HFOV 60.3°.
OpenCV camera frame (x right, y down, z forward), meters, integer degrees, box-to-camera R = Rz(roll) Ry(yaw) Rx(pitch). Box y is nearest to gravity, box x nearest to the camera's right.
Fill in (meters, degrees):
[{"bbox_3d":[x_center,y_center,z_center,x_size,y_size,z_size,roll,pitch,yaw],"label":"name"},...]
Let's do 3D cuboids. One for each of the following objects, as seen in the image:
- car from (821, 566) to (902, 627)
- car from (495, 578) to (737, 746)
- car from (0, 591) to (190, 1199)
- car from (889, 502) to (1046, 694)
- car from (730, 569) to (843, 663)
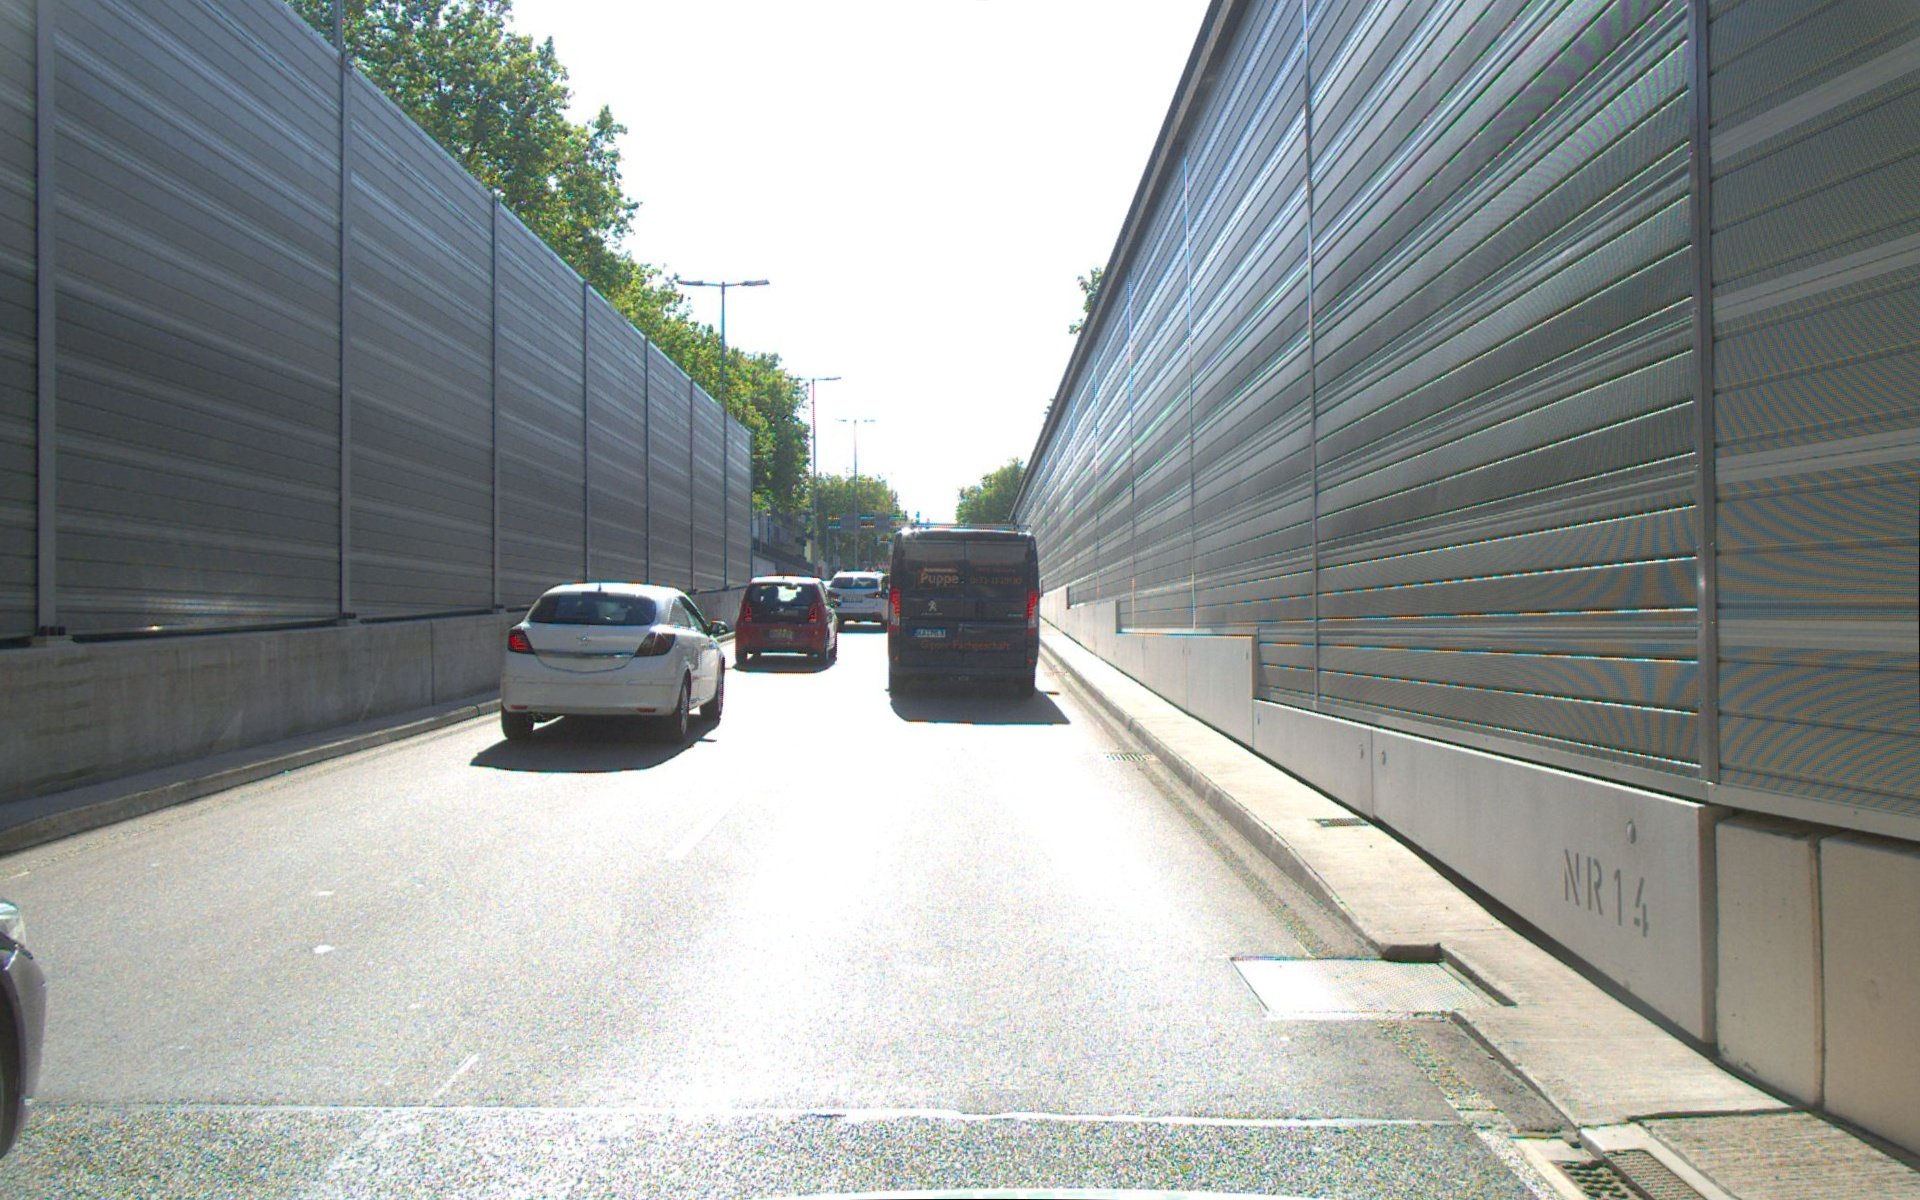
[{"bbox_3d":[-2.592,-0.139,44.233,1.853,1.500,3.992,1,1,1],"label":"car"},{"bbox_3d":[-3.269,0.518,16.396,1.586,1.427,3.852,1,1,0],"label":"car"},{"bbox_3d":[-2.864,0.693,1.752,1.772,1.464,5.001,1,0,-1],"label":"car"},{"bbox_3d":[0.098,-0.057,23.112,1.988,2.444,3.973,0,1,0],"label":"car"},{"bbox_3d":[-3.015,0.236,29.311,1.654,1.509,3.319,1,2,-1],"label":"car"}]
